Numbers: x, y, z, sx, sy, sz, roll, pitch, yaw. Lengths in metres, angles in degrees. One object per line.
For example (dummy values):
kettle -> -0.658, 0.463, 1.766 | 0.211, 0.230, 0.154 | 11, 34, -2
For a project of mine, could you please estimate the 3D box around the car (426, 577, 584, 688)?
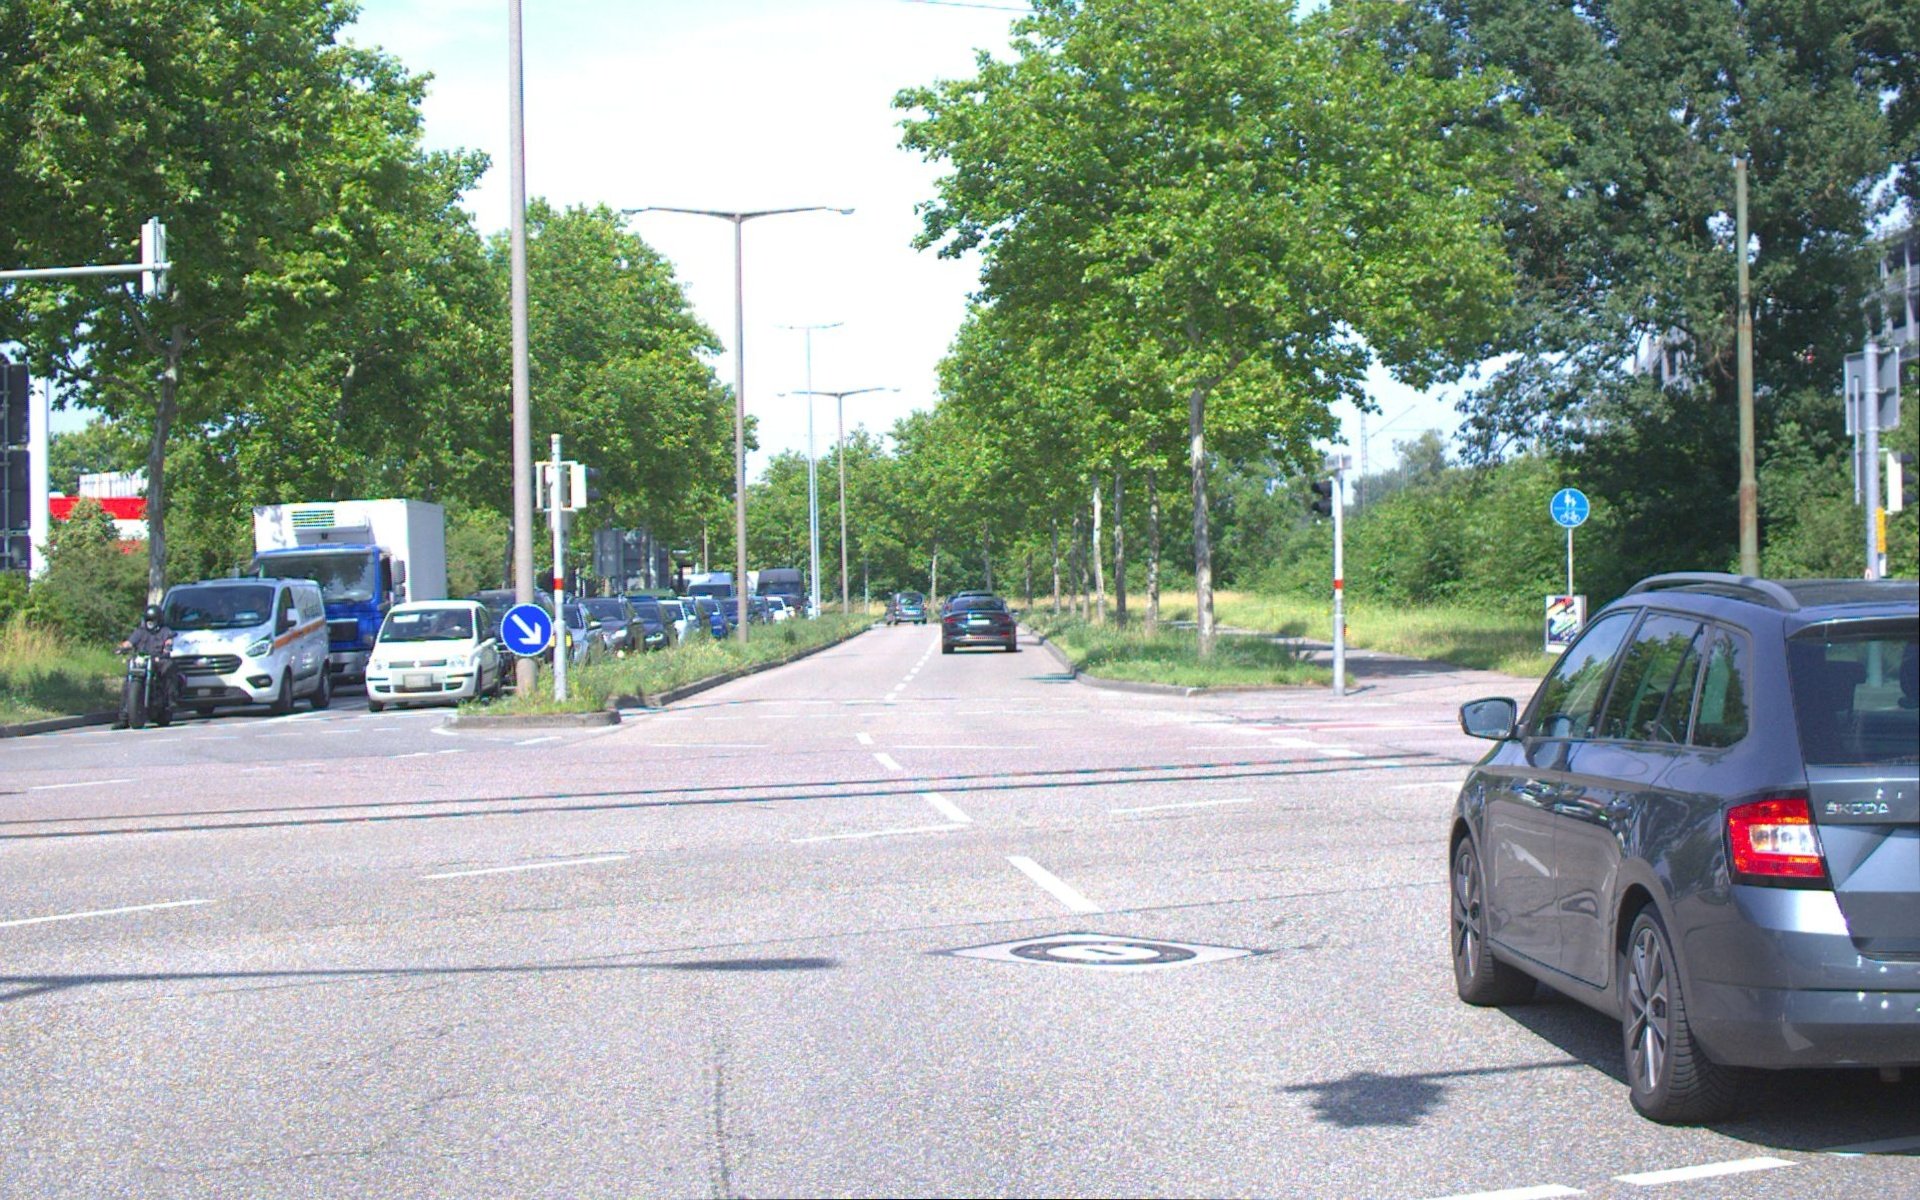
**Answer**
car -> -7.202, 0.517, 54.837 | 1.820, 1.641, 4.694 | -2, -1, 0

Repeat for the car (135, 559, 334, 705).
car -> -10.436, 0.421, 49.795 | 1.976, 1.992, 5.032 | -1, 0, -2

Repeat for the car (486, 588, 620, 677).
car -> -7.265, 0.552, 61.739 | 1.797, 1.463, 4.523 | -2, 0, 1

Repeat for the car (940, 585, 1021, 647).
car -> 0.486, 0.369, 85.285 | 1.908, 1.458, 4.621 | -1, 0, -1

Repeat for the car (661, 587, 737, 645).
car -> -7.122, 0.411, 93.989 | 1.784, 1.484, 4.211 | -2, 0, -1

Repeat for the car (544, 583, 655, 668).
car -> -7.126, 0.479, 68.285 | 1.689, 1.581, 4.240 | -2, 0, 0

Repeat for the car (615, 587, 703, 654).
car -> -7.100, 0.466, 81.291 | 1.689, 1.467, 3.814 | -2, 0, 0

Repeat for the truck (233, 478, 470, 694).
truck -> -10.549, -0.272, 60.210 | 2.804, 3.459, 6.691 | -2, 1, 0

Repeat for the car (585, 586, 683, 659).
car -> -7.146, 0.463, 75.655 | 1.689, 1.468, 4.218 | -3, 0, 0

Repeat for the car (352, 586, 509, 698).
car -> -7.484, 0.565, 48.891 | 1.593, 1.472, 3.729 | -2, 0, 0

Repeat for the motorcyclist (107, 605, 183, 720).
motorcyclist -> -10.595, 0.802, 44.720 | 0.743, 1.465, 0.987 | -1, 0, 0

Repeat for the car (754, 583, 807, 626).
car -> -6.680, 0.154, 128.104 | 1.689, 1.505, 3.814 | -2, 0, 0

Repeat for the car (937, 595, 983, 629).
car -> -0.019, 0.553, 158.943 | 1.908, 1.458, 4.583 | 0, 1, -3

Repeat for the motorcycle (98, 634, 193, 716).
motorcycle -> -10.561, 0.960, 44.626 | 0.688, 0.988, 2.217 | -1, 0, 0

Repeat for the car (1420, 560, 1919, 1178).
car -> 2.492, 0.624, 10.129 | 1.674, 1.448, 4.036 | 1, 0, -1
